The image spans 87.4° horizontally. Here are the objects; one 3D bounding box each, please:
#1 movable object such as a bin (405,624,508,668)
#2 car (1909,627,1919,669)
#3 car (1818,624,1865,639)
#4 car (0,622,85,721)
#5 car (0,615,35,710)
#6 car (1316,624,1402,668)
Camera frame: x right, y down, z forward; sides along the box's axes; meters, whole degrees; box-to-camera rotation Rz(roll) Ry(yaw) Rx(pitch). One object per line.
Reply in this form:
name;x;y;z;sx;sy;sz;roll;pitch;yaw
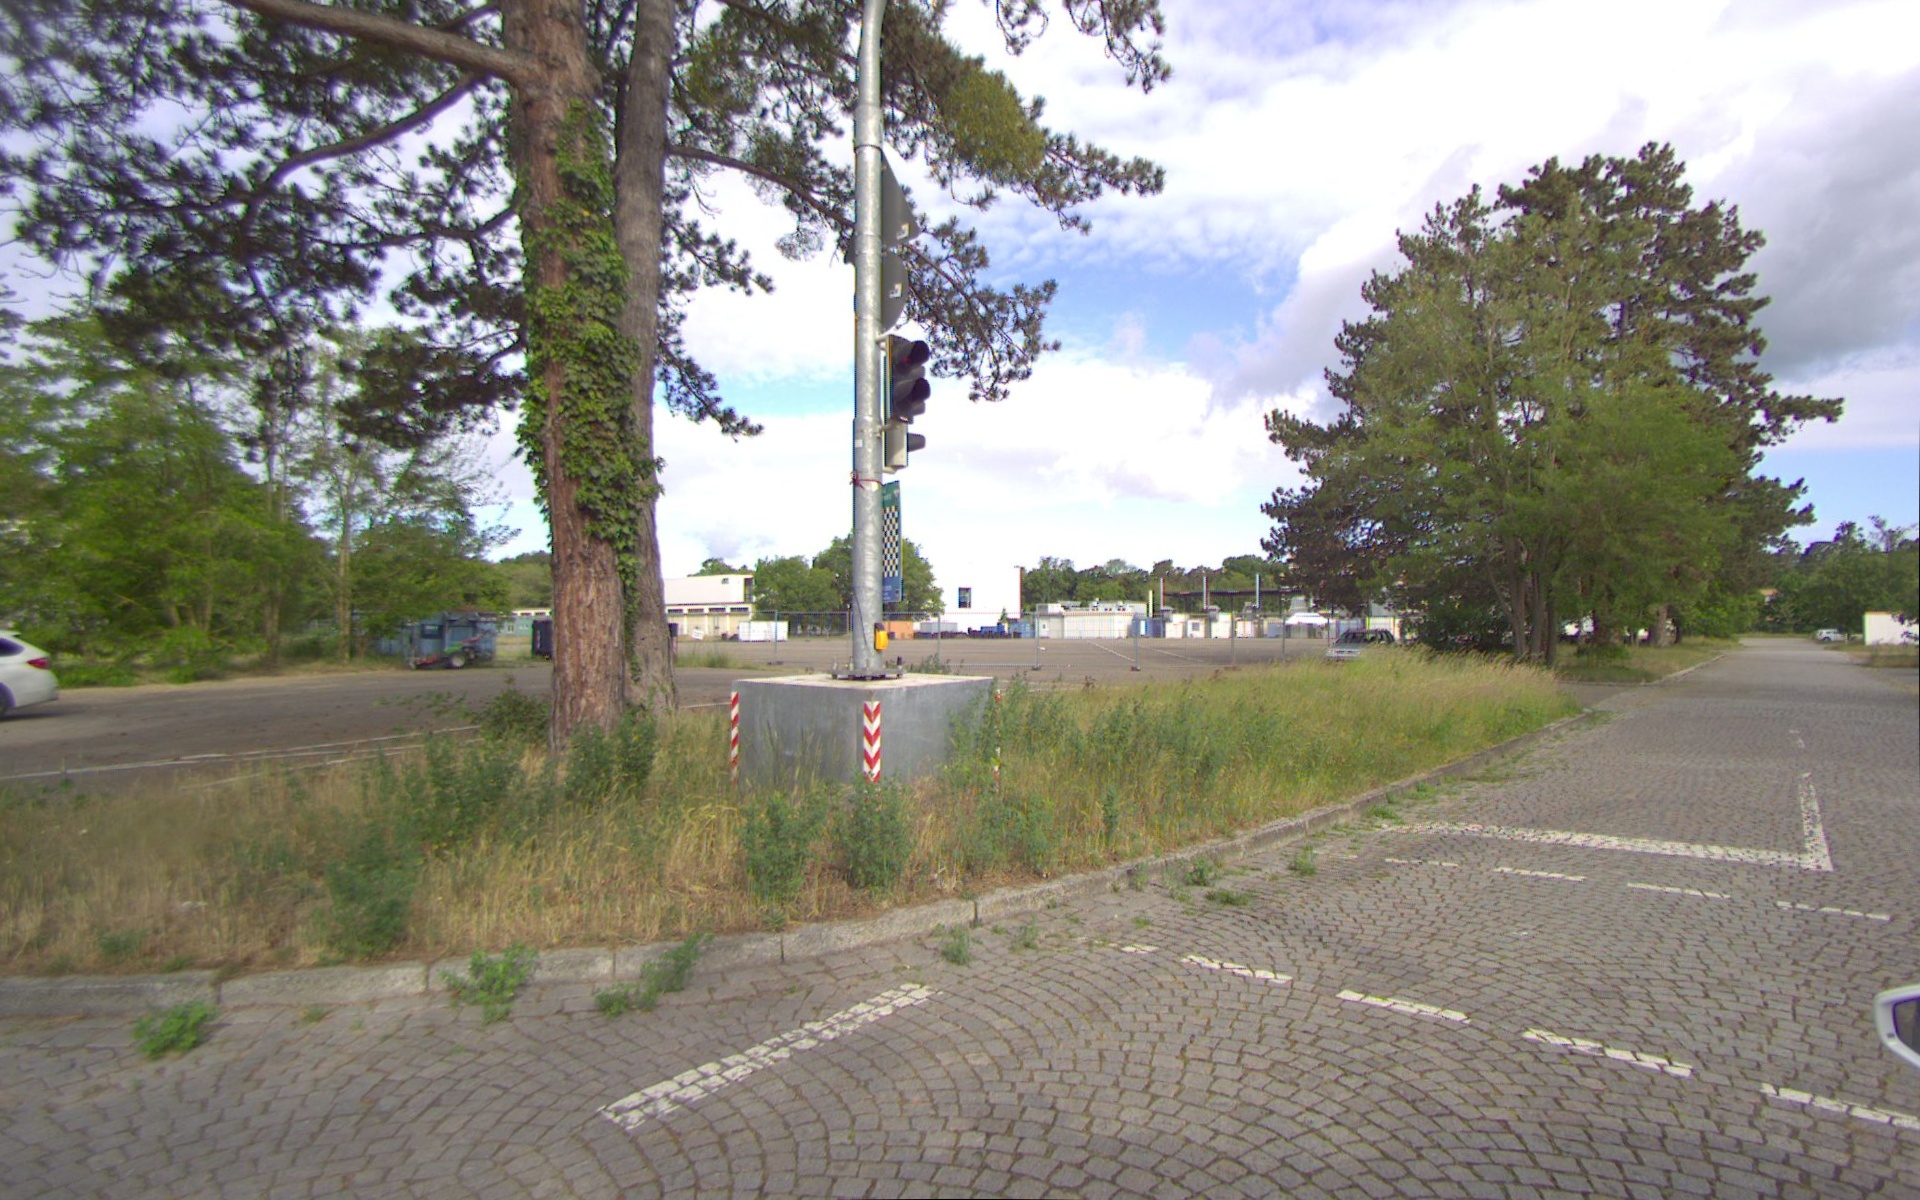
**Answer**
movable object such as a bin;-15.032;1.344;30.041;1.153;1.228;2.528;-1;-1;39
car;37.971;1.729;36.747;4.461;1.551;1.993;-3;-3;37
car;109.861;3.872;125.255;4.305;1.803;1.915;-1;-2;41
car;-16.128;1.157;14.636;1.883;1.459;4.801;-1;1;37
car;-18.158;1.094;16.210;1.817;1.611;4.471;-1;0;36
car;14.807;1.653;37.118;1.894;1.496;4.353;-1;-1;37
